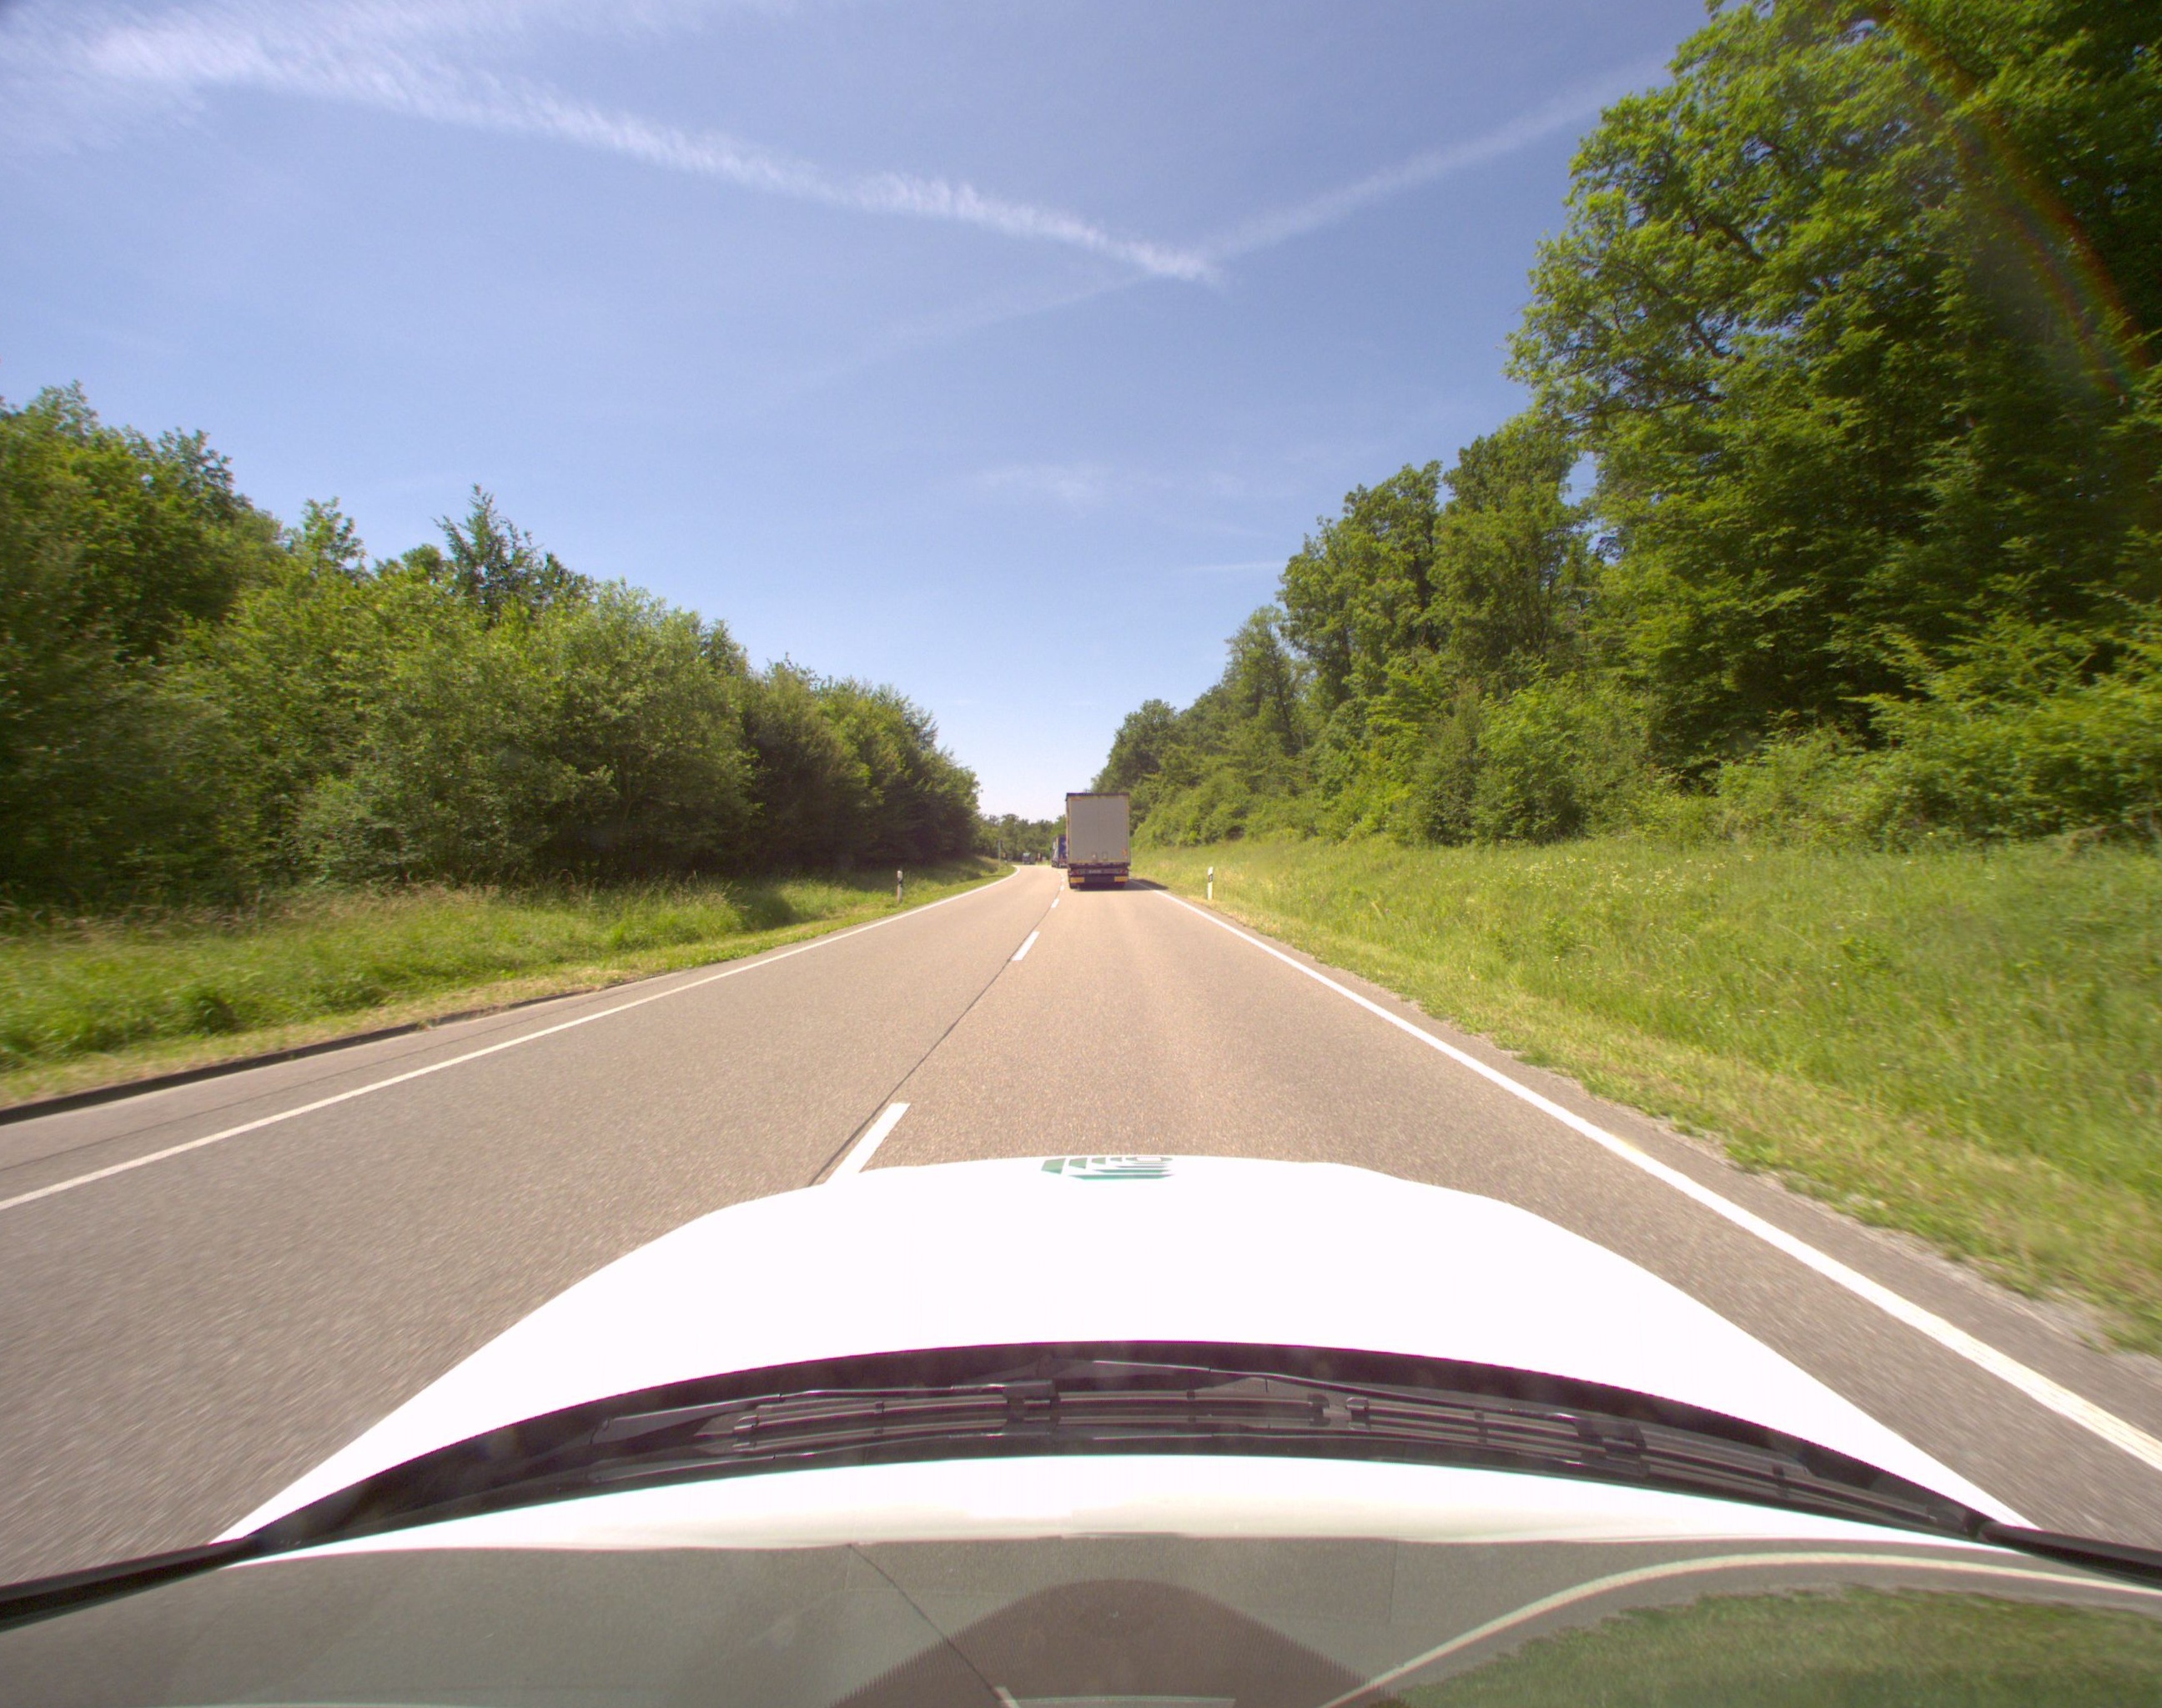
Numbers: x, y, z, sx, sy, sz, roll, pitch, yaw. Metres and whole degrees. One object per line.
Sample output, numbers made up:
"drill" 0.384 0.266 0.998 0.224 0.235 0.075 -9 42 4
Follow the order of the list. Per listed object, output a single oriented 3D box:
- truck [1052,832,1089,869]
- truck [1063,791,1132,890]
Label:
"truck" -1.467 -0.405 102.256 3.786 4.373 14.899 0 0 -4
"truck" 0.688 -0.526 38.895 2.752 3.947 12.195 0 0 0
